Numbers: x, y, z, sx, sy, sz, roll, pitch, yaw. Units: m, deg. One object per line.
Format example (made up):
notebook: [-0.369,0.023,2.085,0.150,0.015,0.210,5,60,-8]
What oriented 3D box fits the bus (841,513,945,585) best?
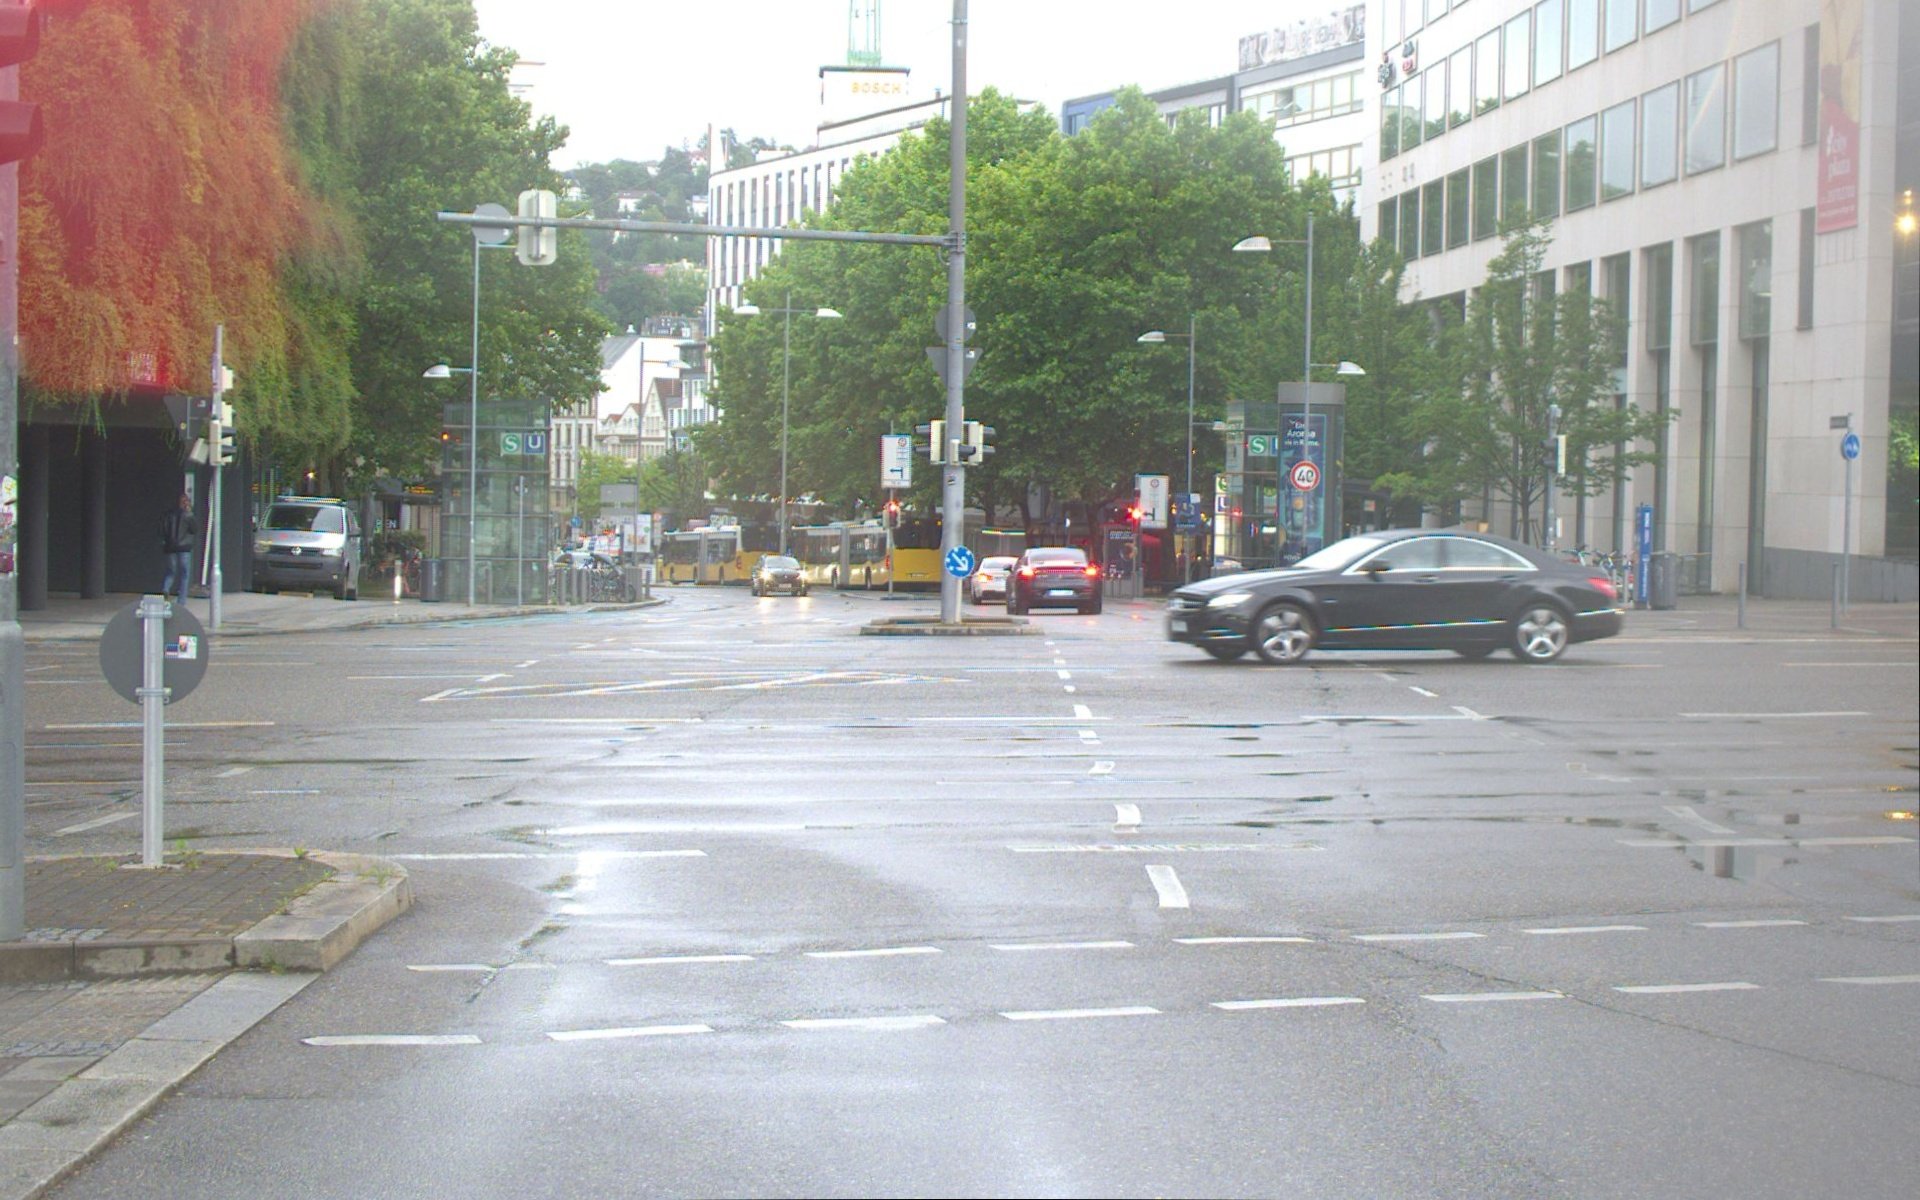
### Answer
bus: [-2.895,-2.199,145.938,2.627,2.985,7.451,0,1,-16]

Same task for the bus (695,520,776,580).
bus: [-11.352,-2.551,173.231,2.627,2.985,7.330,0,1,-16]

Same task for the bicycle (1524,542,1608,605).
bicycle: [11.697,-0.514,66.392,0.584,1.190,1.784,1,1,-28]

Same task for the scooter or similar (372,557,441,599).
scooter or similar: [-13.280,-0.538,82.544,0.623,1.001,1.657,1,1,38]

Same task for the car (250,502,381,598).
car: [-12.772,-0.980,68.326,1.870,1.833,4.000,1,1,-1]

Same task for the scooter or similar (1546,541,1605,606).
scooter or similar: [11.486,-0.494,64.155,0.963,1.190,0.454,1,1,40]

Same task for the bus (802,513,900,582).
bus: [-4.909,-2.360,153.084,2.627,2.985,7.451,0,1,-16]

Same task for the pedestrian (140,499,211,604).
pedestrian: [-12.448,-0.773,54.579,0.933,1.638,0.774,1,0,-1]

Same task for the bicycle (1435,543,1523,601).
bicycle: [10.981,-0.587,72.771,1.777,1.190,0.586,1,0,2]

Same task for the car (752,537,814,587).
car: [-6.530,-1.409,126.654,2.164,1.759,5.113,-1,1,-4]

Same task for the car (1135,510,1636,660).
car: [4.478,-0.135,36.385,4.845,1.472,2.000,1,-1,-15]

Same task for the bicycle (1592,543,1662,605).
bicycle: [13.000,-0.501,66.950,0.586,1.190,1.779,1,1,38]

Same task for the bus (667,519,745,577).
bus: [-13.367,-2.748,180.326,2.627,2.985,7.451,0,1,-16]

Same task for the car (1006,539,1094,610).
car: [1.958,-0.575,76.050,1.781,1.503,4.000,1,1,-1]

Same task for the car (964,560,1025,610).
car: [1.047,-0.472,106.070,1.781,1.503,4.000,1,1,-1]
